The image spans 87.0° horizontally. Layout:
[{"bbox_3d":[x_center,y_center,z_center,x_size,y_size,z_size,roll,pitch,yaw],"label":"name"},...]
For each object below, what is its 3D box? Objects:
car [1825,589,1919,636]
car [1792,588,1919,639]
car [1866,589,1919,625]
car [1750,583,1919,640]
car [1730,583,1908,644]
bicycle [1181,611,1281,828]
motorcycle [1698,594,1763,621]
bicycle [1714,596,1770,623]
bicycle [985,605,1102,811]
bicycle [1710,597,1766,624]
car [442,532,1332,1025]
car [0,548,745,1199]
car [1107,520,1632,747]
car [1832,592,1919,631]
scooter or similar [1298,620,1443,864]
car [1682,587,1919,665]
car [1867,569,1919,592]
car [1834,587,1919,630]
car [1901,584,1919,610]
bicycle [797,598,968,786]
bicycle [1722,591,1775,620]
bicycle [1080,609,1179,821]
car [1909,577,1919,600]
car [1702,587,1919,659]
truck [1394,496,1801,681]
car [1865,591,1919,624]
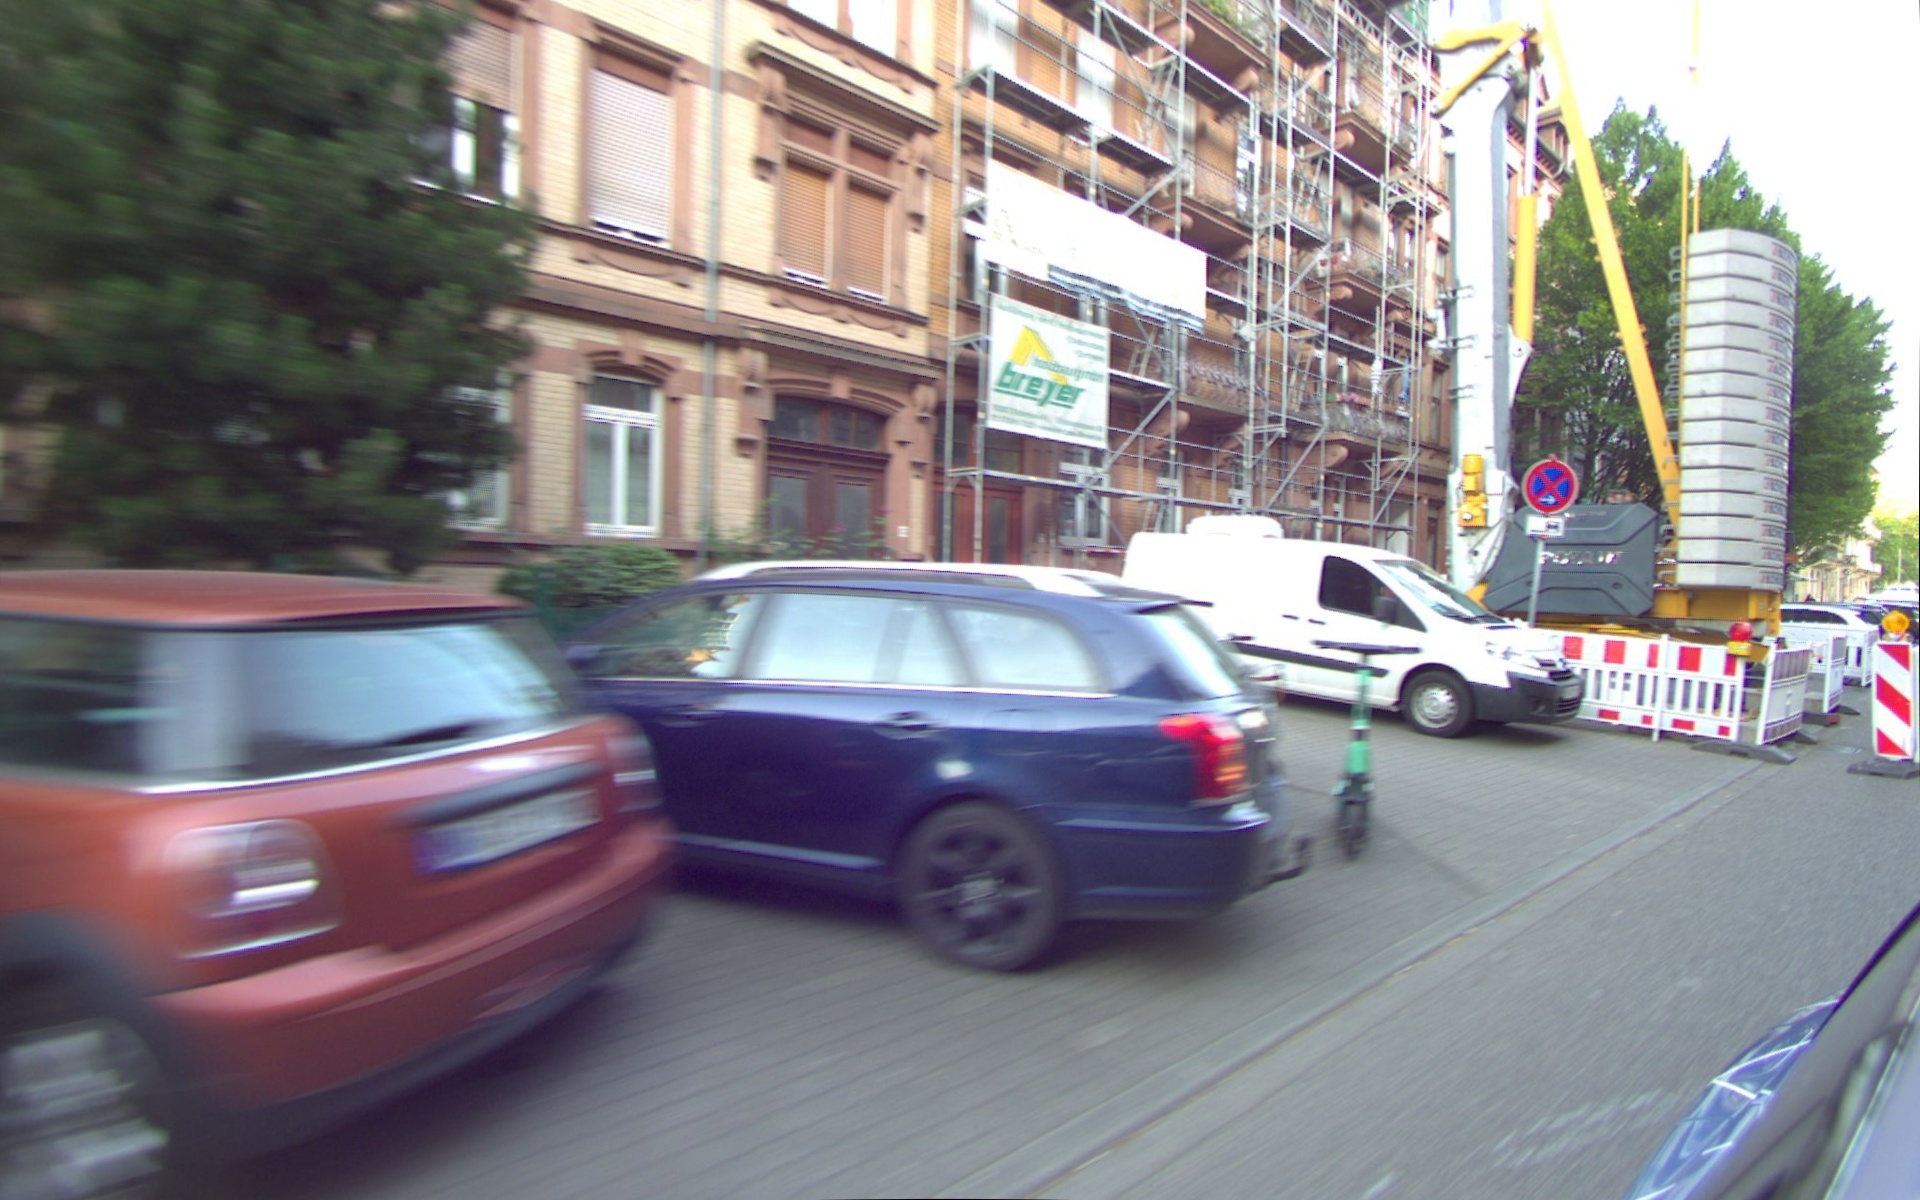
[{"bbox_3d":[36.465,0.510,39.365,3.785,1.584,1.669,4,3,18],"label":"car"},{"bbox_3d":[34.037,0.490,38.111,3.798,1.584,1.663,4,4,27],"label":"car"},{"bbox_3d":[44.568,0.391,46.610,3.781,1.537,1.671,3,3,16],"label":"car"},{"bbox_3d":[27.681,0.331,32.064,3.746,1.536,1.643,3,2,16],"label":"car"},{"bbox_3d":[25.412,0.362,30.092,3.587,1.536,1.614,4,2,20],"label":"car"},{"bbox_3d":[1.777,0.679,6.616,0.490,1.150,1.805,3,1,16],"label":"bicycle"},{"bbox_3d":[31.586,0.287,41.508,0.578,0.937,1.992,2,4,-29],"label":"motorcycle"},{"bbox_3d":[33.130,0.384,42.895,1.764,0.937,0.538,7,5,41],"label":"bicycle"},{"bbox_3d":[0.617,0.641,6.885,0.489,1.150,1.807,3,1,13],"label":"bicycle"},{"bbox_3d":[32.663,0.415,42.503,1.764,0.937,0.538,7,5,41],"label":"bicycle"},{"bbox_3d":[-0.301,0.515,4.835,3.823,1.535,1.834,2,1,22],"label":"car"},{"bbox_3d":[-2.826,0.576,3.237,3.812,1.425,1.751,2,2,15],"label":"car"},{"bbox_3d":[4.347,0.168,11.563,1.867,1.979,5.182,2,3,-43],"label":"car"},{"bbox_3d":[39.970,0.524,43.111,3.785,1.447,1.669,4,3,18],"label":"car"},{"bbox_3d":[2.441,0.747,6.010,0.649,1.164,1.473,3,2,23],"label":"scooter or similar"},{"bbox_3d":[19.835,0.570,24.012,3.937,1.506,1.678,3,2,14],"label":"car"},{"bbox_3d":[71.912,-1.450,77.046,3.787,1.537,1.668,4,3,20],"label":"car"},{"bbox_3d":[41.770,0.394,45.107,3.789,1.668,1.667,4,3,21],"label":"car"},{"bbox_3d":[90.941,-0.197,94.436,4.124,2.320,1.675,3,3,9],"label":"car"},{"bbox_3d":[-0.500,0.583,7.330,0.490,1.150,1.802,3,1,20],"label":"bicycle"},{"bbox_3d":[35.547,0.236,45.627,1.764,1.113,0.538,7,5,41],"label":"bicycle"},{"bbox_3d":[1.172,0.670,6.766,0.489,1.150,1.807,3,1,13],"label":"bicycle"},{"bbox_3d":[96.995,-1.014,100.123,4.130,2.286,1.672,3,3,13],"label":"car"},{"bbox_3d":[21.953,0.552,26.045,4.106,1.506,1.825,3,2,12],"label":"car"},{"bbox_3d":[12.461,-0.233,20.353,2.479,3.115,6.495,0,1,-39],"label":"truck"},{"bbox_3d":[49.689,0.452,52.423,3.807,1.537,1.659,5,4,32],"label":"car"}]
